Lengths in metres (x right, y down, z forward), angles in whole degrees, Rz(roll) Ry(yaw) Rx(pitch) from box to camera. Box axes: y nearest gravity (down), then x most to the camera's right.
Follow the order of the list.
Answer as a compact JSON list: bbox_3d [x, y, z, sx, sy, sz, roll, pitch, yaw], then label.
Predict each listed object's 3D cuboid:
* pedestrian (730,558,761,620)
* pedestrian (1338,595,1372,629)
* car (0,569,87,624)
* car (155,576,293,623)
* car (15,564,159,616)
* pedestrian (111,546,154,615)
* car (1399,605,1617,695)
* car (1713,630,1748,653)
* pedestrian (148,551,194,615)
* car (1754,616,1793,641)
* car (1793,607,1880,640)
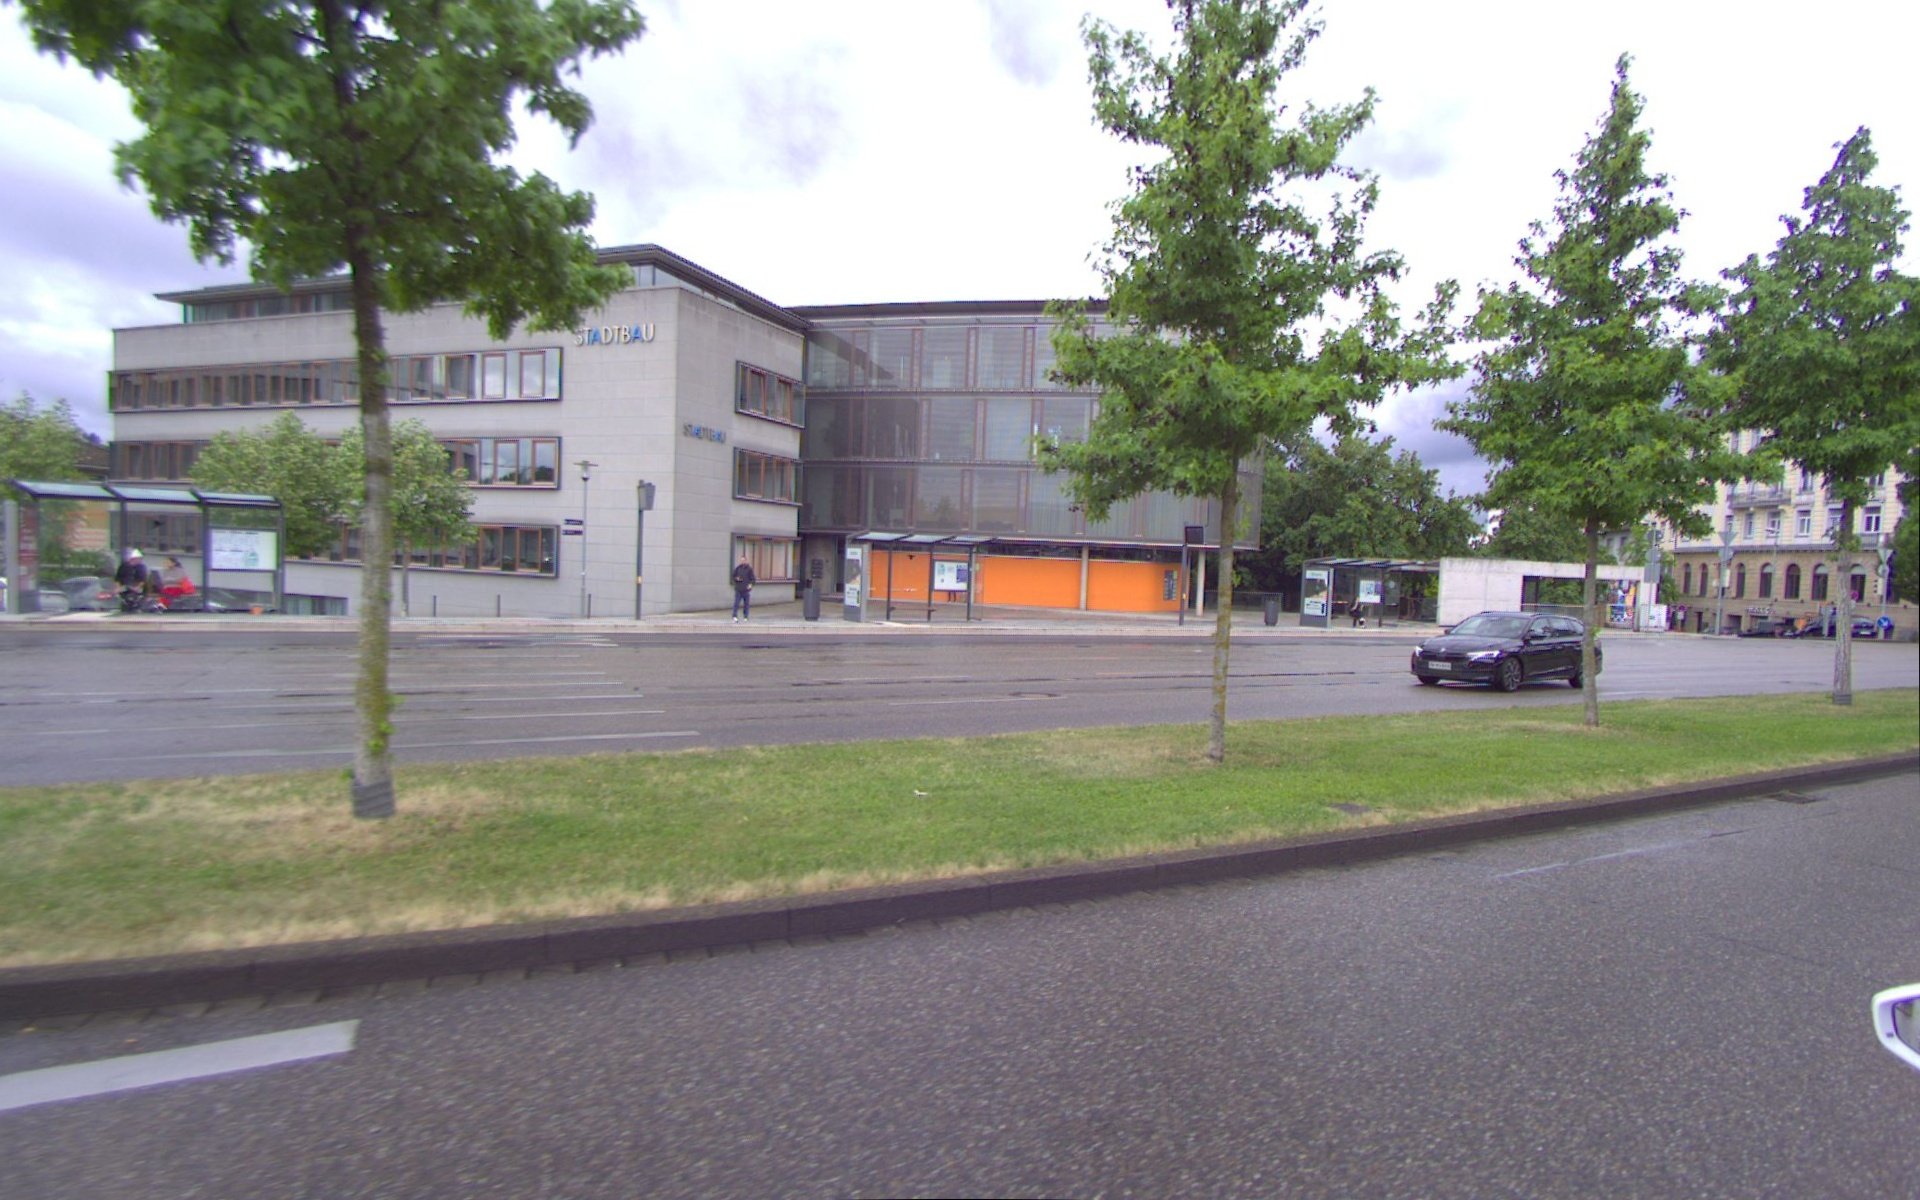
[{"bbox_3d":[-6.057,-0.306,28.330,0.752,1.706,0.473,1,1,-23],"label":"pedestrian"},{"bbox_3d":[16.078,0.483,40.871,0.834,1.285,0.977,2,5,-8],"label":"pedestrian"},{"bbox_3d":[-28.373,-0.134,29.803,3.711,1.515,1.767,2,1,9],"label":"car"},{"bbox_3d":[-25.926,-0.032,35.490,3.519,1.515,1.629,2,1,-11],"label":"car"},{"bbox_3d":[-28.188,-0.322,32.478,3.509,1.515,1.634,2,1,9],"label":"car"},{"bbox_3d":[-18.376,-0.437,22.317,0.619,1.488,0.674,1,1,-31],"label":"pedestrian"},{"bbox_3d":[10.743,0.931,19.593,4.588,1.548,1.671,1,1,-32],"label":"car"},{"bbox_3d":[56.606,3.028,73.850,1.634,1.626,3.246,-1,-1,30],"label":"car"},{"bbox_3d":[-17.739,-0.378,22.607,0.713,1.411,0.674,1,1,-31],"label":"pedestrian"},{"bbox_3d":[56.168,1.964,69.372,1.635,1.626,3.245,-1,-1,32],"label":"car"},{"bbox_3d":[50.131,1.323,57.554,1.805,1.649,3.706,2,1,3],"label":"car"}]
